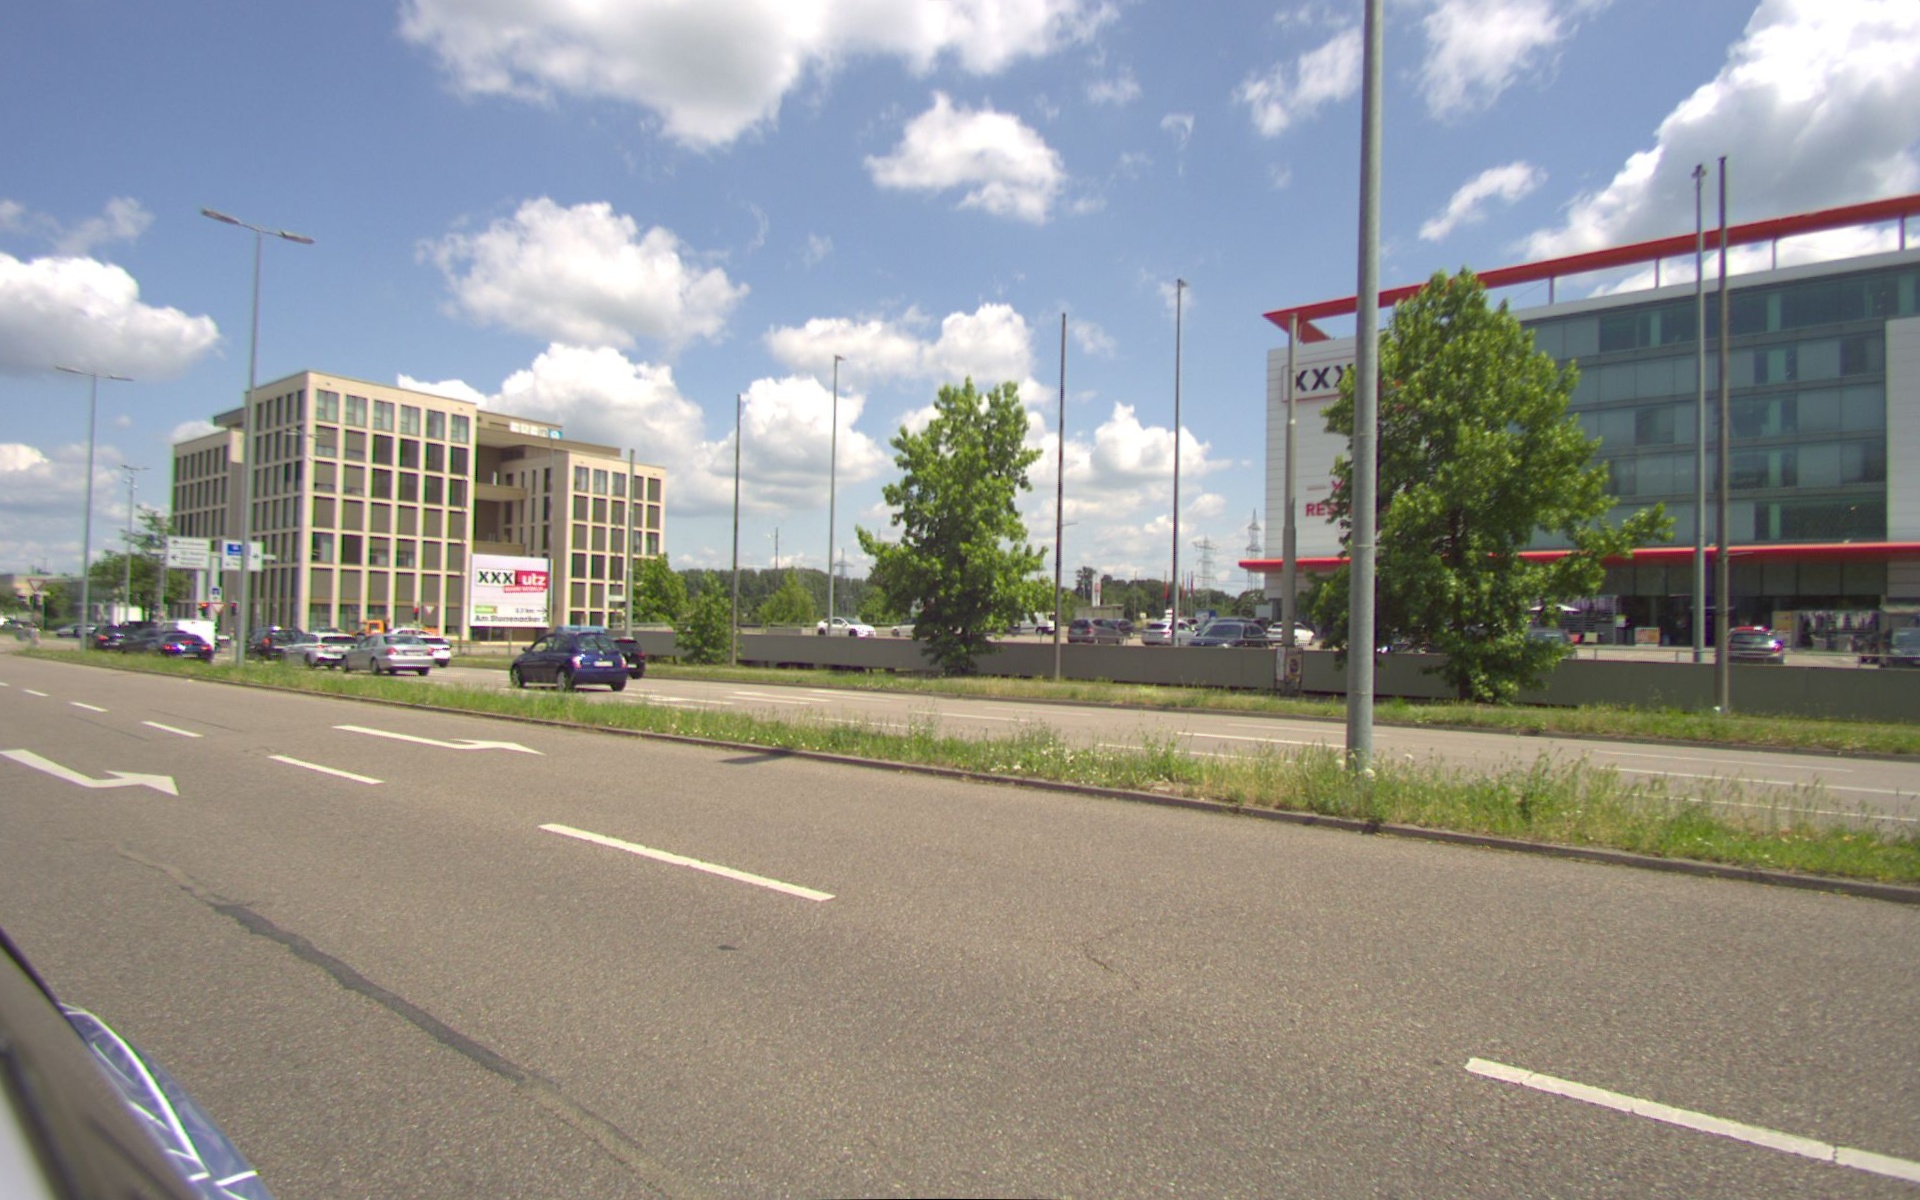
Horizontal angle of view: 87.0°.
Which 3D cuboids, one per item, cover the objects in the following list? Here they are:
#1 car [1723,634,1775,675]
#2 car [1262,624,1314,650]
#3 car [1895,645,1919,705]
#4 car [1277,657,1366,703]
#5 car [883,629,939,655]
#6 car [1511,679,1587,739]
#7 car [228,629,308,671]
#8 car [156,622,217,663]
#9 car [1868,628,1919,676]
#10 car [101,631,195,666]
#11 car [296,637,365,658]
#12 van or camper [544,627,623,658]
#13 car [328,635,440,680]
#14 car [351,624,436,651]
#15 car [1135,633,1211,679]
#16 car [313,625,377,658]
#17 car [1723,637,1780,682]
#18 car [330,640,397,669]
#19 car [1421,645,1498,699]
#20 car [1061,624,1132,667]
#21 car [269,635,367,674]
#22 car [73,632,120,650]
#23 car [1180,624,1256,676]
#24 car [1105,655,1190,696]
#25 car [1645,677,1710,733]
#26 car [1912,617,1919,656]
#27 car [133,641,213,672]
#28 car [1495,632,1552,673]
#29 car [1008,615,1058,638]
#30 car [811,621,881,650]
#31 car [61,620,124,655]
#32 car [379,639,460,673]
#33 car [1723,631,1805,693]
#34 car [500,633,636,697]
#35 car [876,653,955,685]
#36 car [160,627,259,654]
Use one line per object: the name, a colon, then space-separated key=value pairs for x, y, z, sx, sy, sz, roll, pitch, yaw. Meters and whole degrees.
car: x=40.172 y=2.778 z=51.588 sx=1.997 sy=2.004 sz=4.307 roll=-2 pitch=-4 yaw=37
car: x=19.711 y=2.228 z=60.793 sx=1.679 sy=1.481 sz=3.781 roll=-2 pitch=-4 yaw=40
car: x=34.967 y=2.670 z=36.071 sx=1.988 sy=2.058 sz=4.246 roll=-1 pitch=-3 yaw=37
car: x=13.726 y=3.004 z=38.316 sx=1.845 sy=1.608 sz=3.945 roll=-2 pitch=-4 yaw=41
car: x=-3.620 y=3.104 z=74.171 sx=3.825 sy=1.847 sz=1.833 roll=-2 pitch=-4 yaw=36
car: x=22.574 y=4.109 z=38.750 sx=1.997 sy=2.029 sz=3.949 roll=-2 pitch=-4 yaw=38
car: x=-29.847 y=2.162 z=43.611 sx=4.224 sy=1.714 sz=1.773 roll=-2 pitch=-4 yaw=41
car: x=-40.151 y=2.221 z=52.508 sx=3.575 sy=2.059 sz=1.837 roll=-3 pitch=-5 yaw=42
car: x=40.617 y=2.236 z=43.505 sx=1.997 sy=2.004 sz=4.307 roll=-1 pitch=-3 yaw=37
car: x=-38.006 y=2.279 z=47.383 sx=3.744 sy=1.572 sz=1.784 roll=-1 pitch=-4 yaw=22
car: x=-50.824 y=3.864 z=81.720 sx=1.996 sy=1.644 sz=4.259 roll=-2 pitch=-4 yaw=35
van or camper: x=-30.867 y=3.524 z=83.170 sx=2.000 sy=2.399 sz=5.766 roll=-2 pitch=-4 yaw=44
car: x=-19.665 y=1.940 z=34.486 sx=4.670 sy=1.429 sz=1.773 roll=-2 pitch=-5 yaw=40
car: x=-53.725 y=3.588 z=96.126 sx=2.853 sy=2.346 sz=6.443 roll=-1 pitch=-4 yaw=42
car: x=11.346 y=2.957 z=53.642 sx=2.000 sy=2.347 sz=4.300 roll=-2 pitch=-4 yaw=43
car: x=-33.250 y=2.249 z=54.697 sx=3.868 sy=1.714 sz=1.773 roll=-2 pitch=-4 yaw=41
car: x=37.158 y=2.761 z=47.563 sx=1.997 sy=2.004 sz=4.307 roll=-1 pitch=-3 yaw=37
car: x=-29.818 y=2.727 z=50.547 sx=4.582 sy=1.402 sz=1.602 roll=-3 pitch=-5 yaw=42
car: x=19.999 y=2.858 z=40.438 sx=1.997 sy=2.029 sz=3.949 roll=-2 pitch=-4 yaw=38
car: x=7.776 y=2.571 z=57.248 sx=1.999 sy=2.347 sz=4.304 roll=-1 pitch=-3 yaw=40
car: x=-24.662 y=2.107 z=38.816 sx=4.841 sy=1.413 sz=1.773 roll=-2 pitch=-5 yaw=40
car: x=-85.756 y=4.073 z=100.552 sx=1.832 sy=1.741 sz=4.193 roll=2 pitch=-3 yaw=-14
car: x=12.198 y=2.347 z=47.686 sx=1.997 sy=2.347 sz=4.307 roll=-1 pitch=-3 yaw=37
car: x=8.067 y=3.202 z=43.292 sx=1.849 sy=1.608 sz=3.945 roll=-2 pitch=-4 yaw=41
car: x=29.467 y=4.239 z=41.522 sx=1.997 sy=2.004 sz=4.307 roll=-1 pitch=-3 yaw=37
car: x=45.859 y=1.673 z=46.667 sx=2.195 sy=1.792 sz=5.070 roll=-2 pitch=-4 yaw=37
car: x=-32.936 y=2.359 z=42.307 sx=4.304 sy=1.261 sz=1.773 roll=-2 pitch=-4 yaw=41
car: x=29.192 y=2.716 z=52.357 sx=1.997 sy=2.004 sz=4.307 roll=-1 pitch=-3 yaw=37
car: x=6.169 y=2.289 z=85.338 sx=3.827 sy=1.847 sz=1.832 roll=-2 pitch=-4 yaw=38
car: x=-7.668 y=2.409 z=67.923 sx=4.667 sy=1.847 sz=1.832 roll=-2 pitch=-4 yaw=38
car: x=-42.613 y=1.872 z=49.672 sx=4.169 sy=1.657 sz=1.772 roll=-3 pitch=-5 yaw=42
car: x=-24.410 y=2.514 z=45.662 sx=4.352 sy=1.484 sz=1.603 roll=-2 pitch=-4 yaw=38
car: x=27.616 y=2.128 z=34.870 sx=1.997 sy=2.004 sz=4.307 roll=-3 pitch=-4 yaw=37
car: x=-10.164 y=1.633 z=26.166 sx=3.674 sy=1.486 sz=1.721 roll=-1 pitch=-3 yaw=41
car: x=-2.279 y=3.588 z=52.829 sx=1.917 sy=1.608 sz=3.945 roll=-2 pitch=-4 yaw=41
car: x=-48.161 y=2.574 z=65.012 sx=1.997 sy=1.591 sz=4.762 roll=0 pitch=-1 yaw=37
